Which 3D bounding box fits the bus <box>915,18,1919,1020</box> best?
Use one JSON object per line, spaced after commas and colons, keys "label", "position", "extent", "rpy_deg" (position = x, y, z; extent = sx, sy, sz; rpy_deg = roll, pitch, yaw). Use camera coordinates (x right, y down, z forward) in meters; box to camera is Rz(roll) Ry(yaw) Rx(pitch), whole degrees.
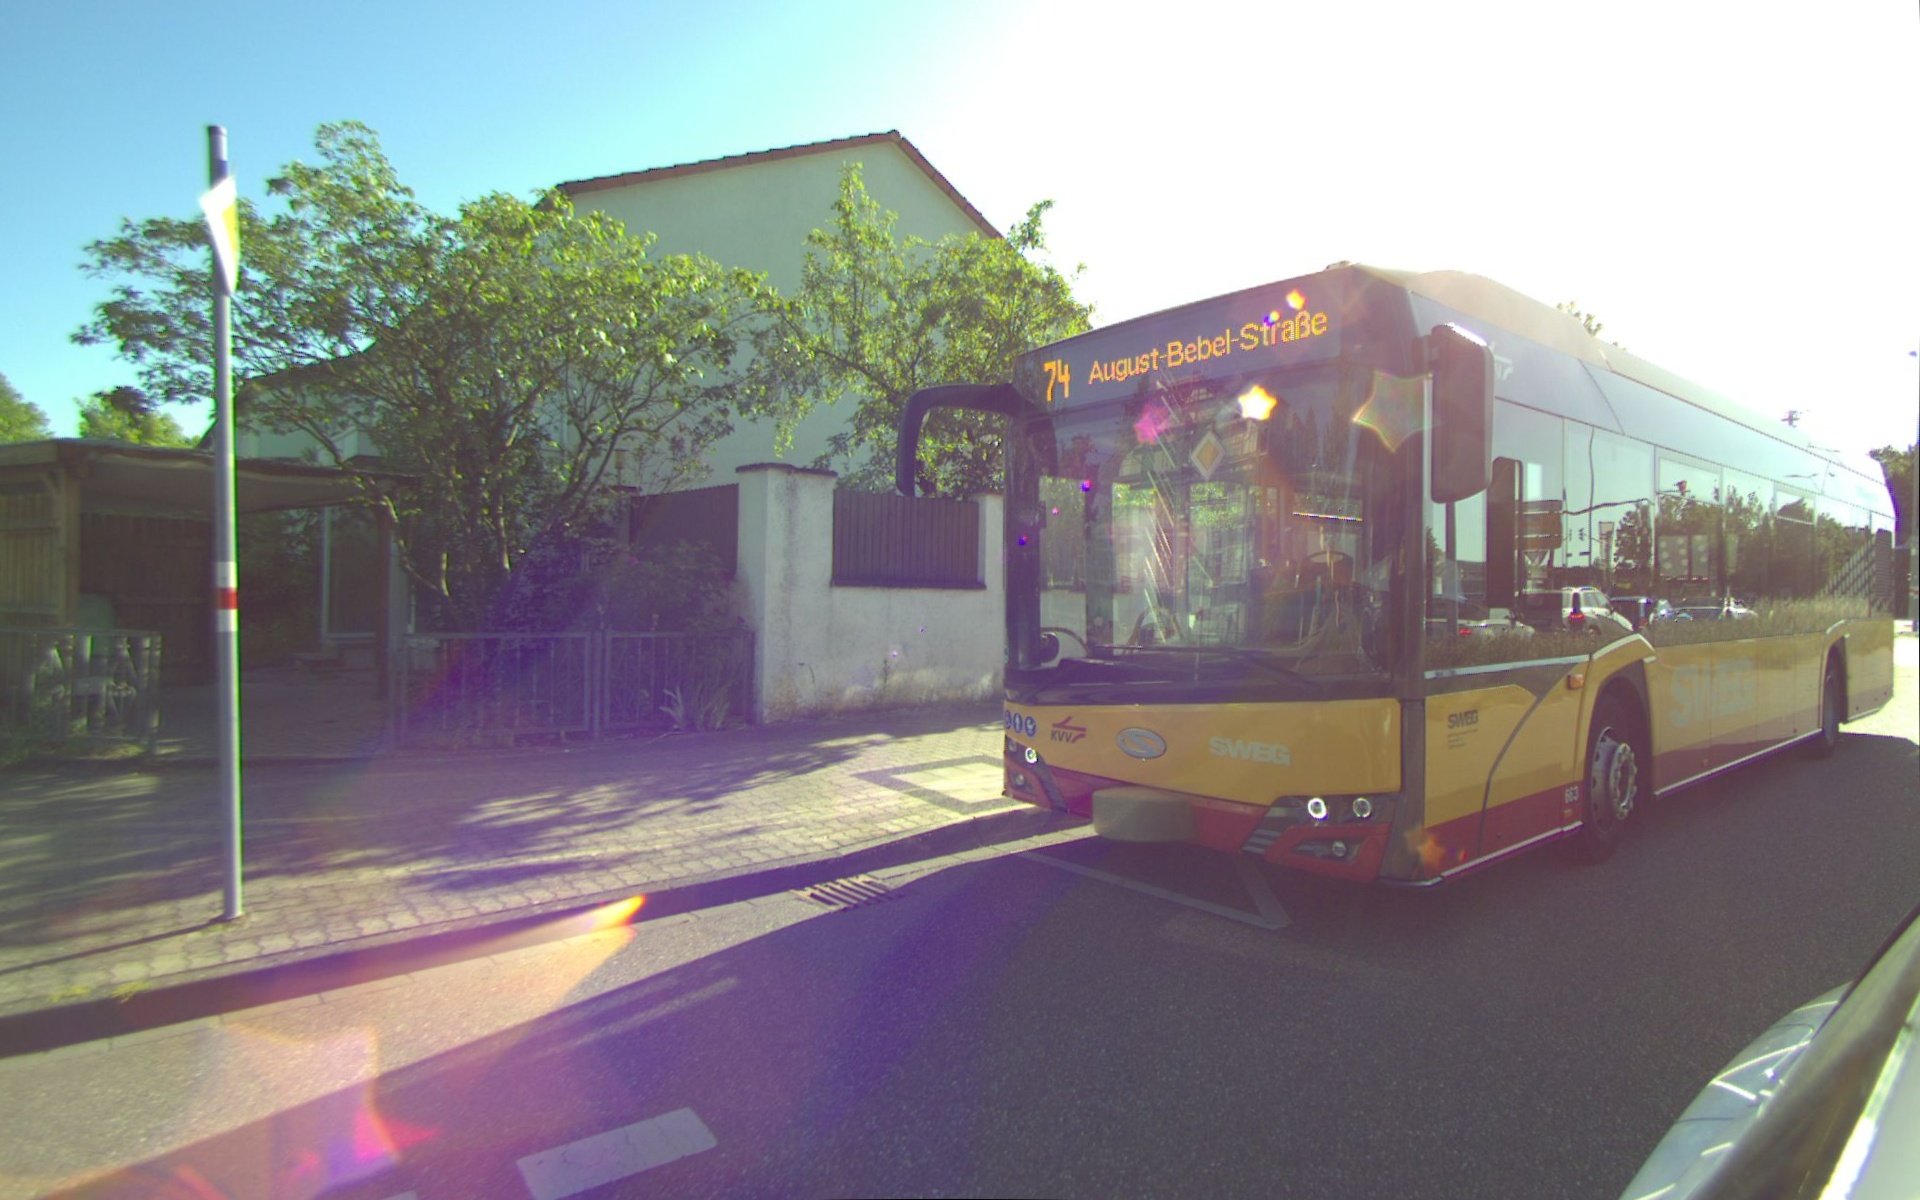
{"label": "bus", "position": [5.309, -0.441, 8.504], "extent": [12.178, 3.500, 2.764], "rpy_deg": [-2, 3, -40]}
